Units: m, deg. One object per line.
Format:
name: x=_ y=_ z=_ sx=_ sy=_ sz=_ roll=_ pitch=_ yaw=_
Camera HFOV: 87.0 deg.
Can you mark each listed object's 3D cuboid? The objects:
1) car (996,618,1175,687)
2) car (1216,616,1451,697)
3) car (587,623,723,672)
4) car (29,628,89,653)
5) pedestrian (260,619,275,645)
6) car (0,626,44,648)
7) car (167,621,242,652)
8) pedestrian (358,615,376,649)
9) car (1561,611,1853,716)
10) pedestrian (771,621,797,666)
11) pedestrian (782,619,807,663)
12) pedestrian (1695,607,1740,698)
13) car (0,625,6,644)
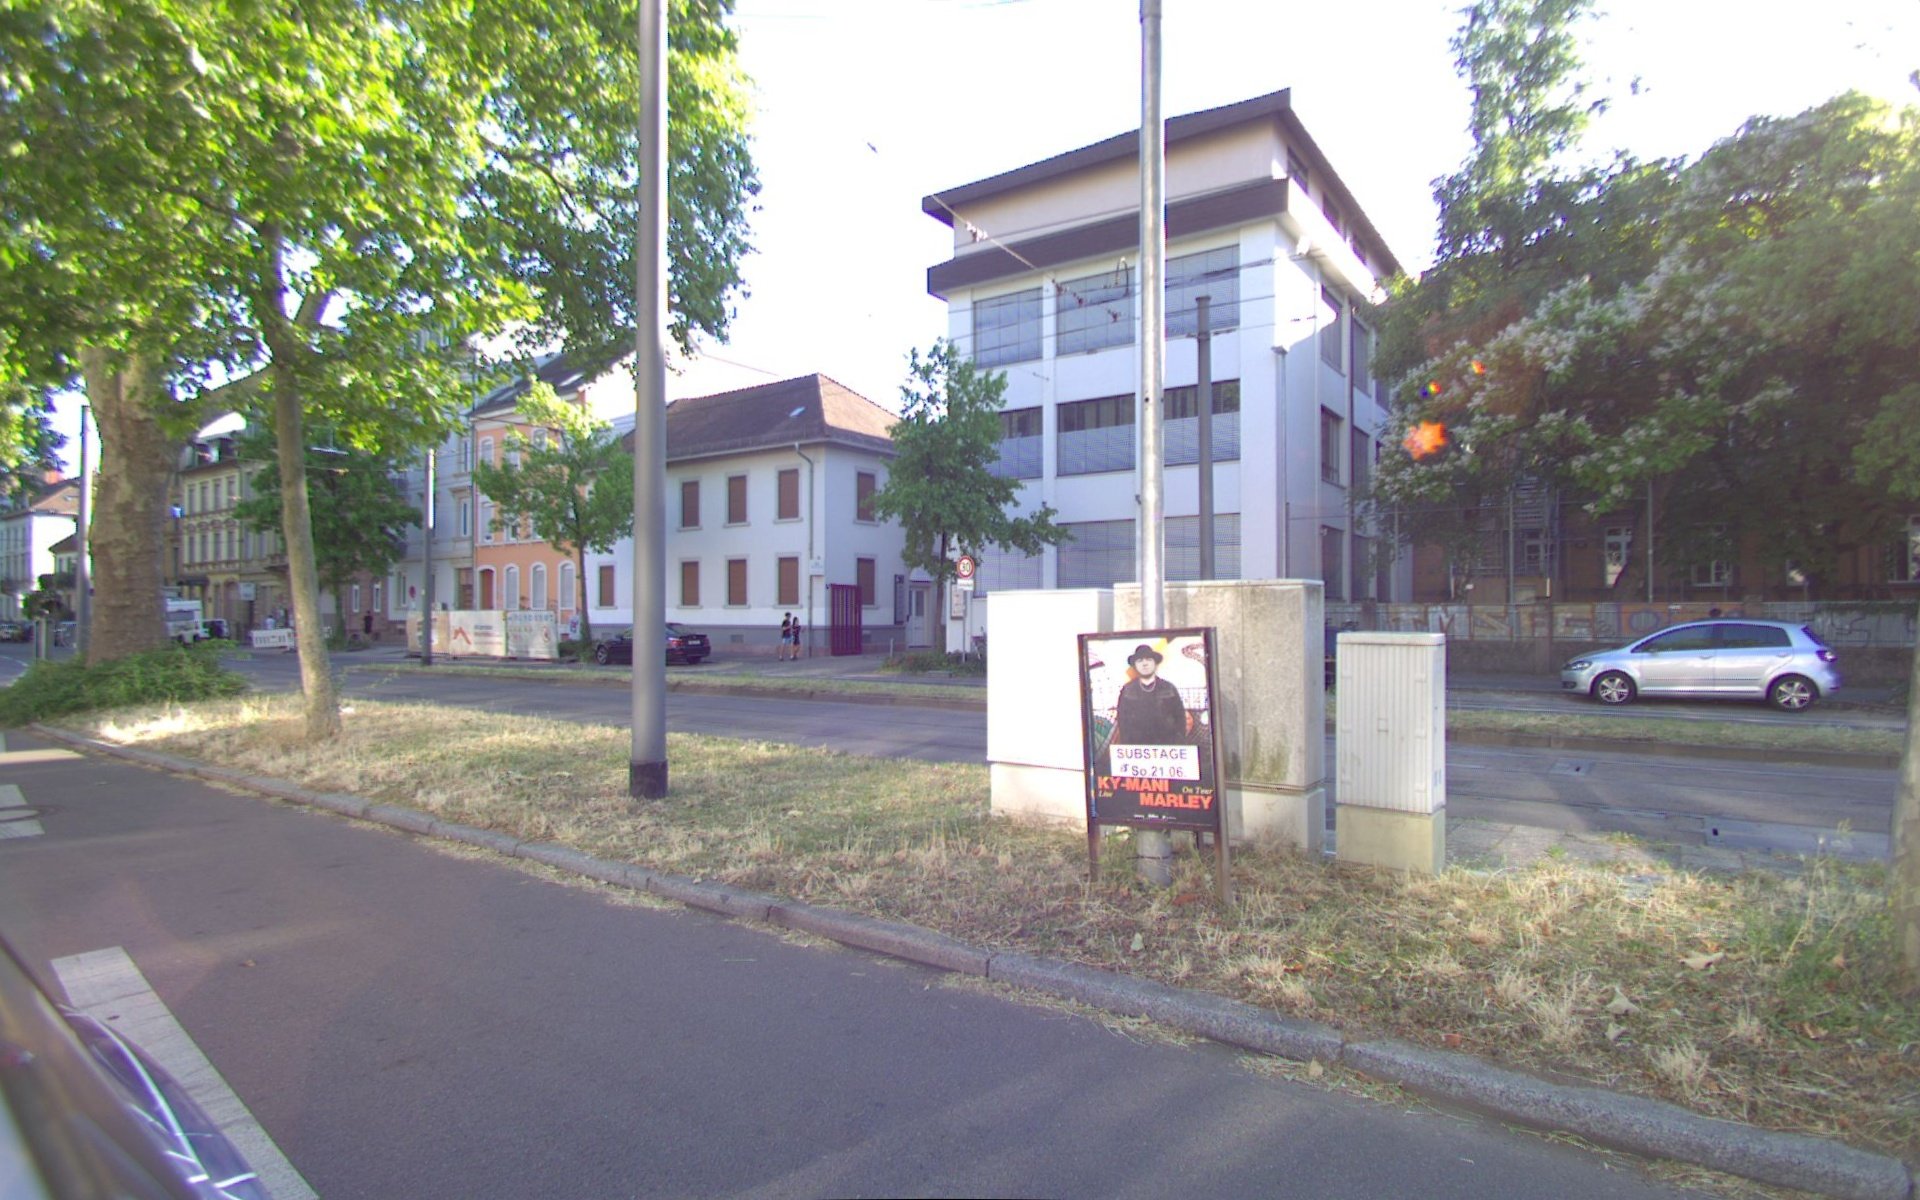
car: x=3.149 y=1.264 z=25.551 sx=3.985 sy=1.501 sz=2.065 roll=-1 pitch=1 yaw=33
car: x=8.096 y=1.152 z=22.052 sx=4.444 sy=1.513 sz=2.065 roll=-1 pitch=1 yaw=33
car: x=-10.586 y=1.608 z=35.033 sx=4.566 sy=1.481 sz=2.065 roll=-1 pitch=1 yaw=33
car: x=-63.472 y=2.820 z=71.272 sx=4.503 sy=1.551 sz=2.065 roll=-1 pitch=1 yaw=33
pedestrian: x=-42.225 y=1.937 z=61.740 sx=0.616 sy=1.540 sz=0.632 roll=-2 pitch=-2 yaw=45
car: x=-73.884 y=2.851 z=79.197 sx=5.090 sy=1.551 sz=2.065 roll=-1 pitch=1 yaw=33
car: x=-44.131 y=2.108 z=59.061 sx=4.520 sy=1.686 sz=2.065 roll=-1 pitch=1 yaw=33
pedestrian: x=-32.224 y=1.721 z=54.978 sx=0.702 sy=1.823 sz=0.556 roll=-1 pitch=-2 yaw=29
car: x=13.445 y=1.084 z=18.555 sx=4.086 sy=1.631 sz=2.065 roll=-1 pitch=1 yaw=33
pedestrian: x=-6.074 y=1.490 z=34.847 sx=0.708 sy=1.540 sz=0.532 roll=-1 pitch=-2 yaw=29
pedestrian: x=-5.883 y=1.438 z=35.959 sx=0.710 sy=1.540 sz=0.531 roll=-1 pitch=-2 yaw=35
pedestrian: x=14.486 y=0.993 z=19.371 sx=0.630 sy=1.677 sz=0.563 roll=-1 pitch=1 yaw=34
car: x=-81.350 y=2.895 z=84.106 sx=4.027 sy=1.551 sz=2.065 roll=-1 pitch=1 yaw=33
